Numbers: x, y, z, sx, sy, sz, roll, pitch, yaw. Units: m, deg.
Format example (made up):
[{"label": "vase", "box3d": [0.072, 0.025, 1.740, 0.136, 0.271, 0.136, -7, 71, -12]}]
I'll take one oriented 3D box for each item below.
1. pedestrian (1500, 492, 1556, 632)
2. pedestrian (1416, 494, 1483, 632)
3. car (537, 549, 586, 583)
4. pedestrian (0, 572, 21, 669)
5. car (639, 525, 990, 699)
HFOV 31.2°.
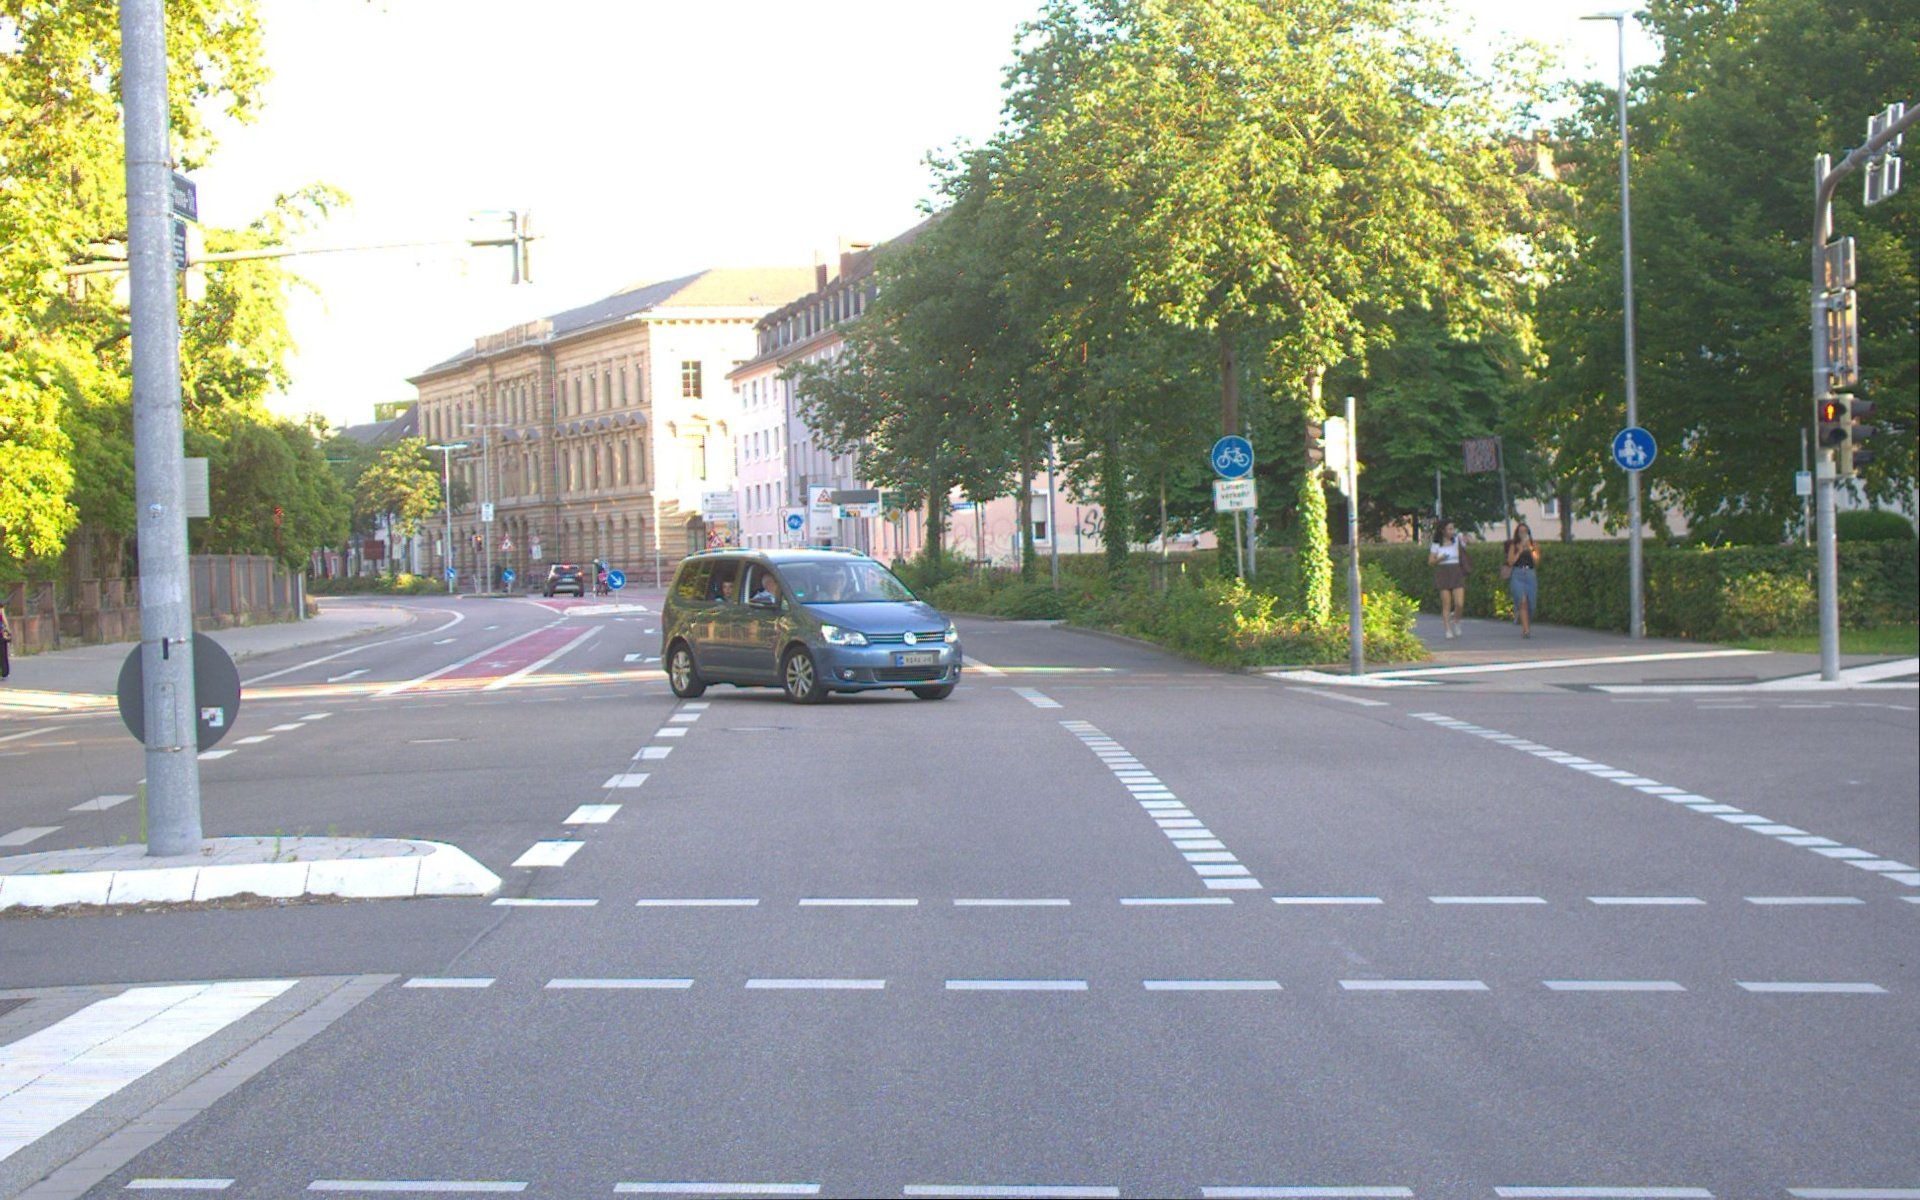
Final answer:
[{"label": "pedestrian", "box3d": [8.203, -0.551, 49.672, 0.635, 2.007, 0.720, -1, 1, -4]}, {"label": "pedestrian", "box3d": [7.180, -0.539, 50.462, 0.870, 2.007, 0.722, 0, 1, -1]}, {"label": "car", "box3d": [-19.698, -1.658, 169.716, 1.819, 1.583, 4.001, -3, 1, -14]}, {"label": "pedestrian", "box3d": [-15.761, 0.338, 56.208, 0.599, 1.568, 0.646, -2, 1, -1]}, {"label": "car", "box3d": [-1.628, 0.114, 36.843, 1.849, 1.714, 4.295, -2, 1, -32]}]
